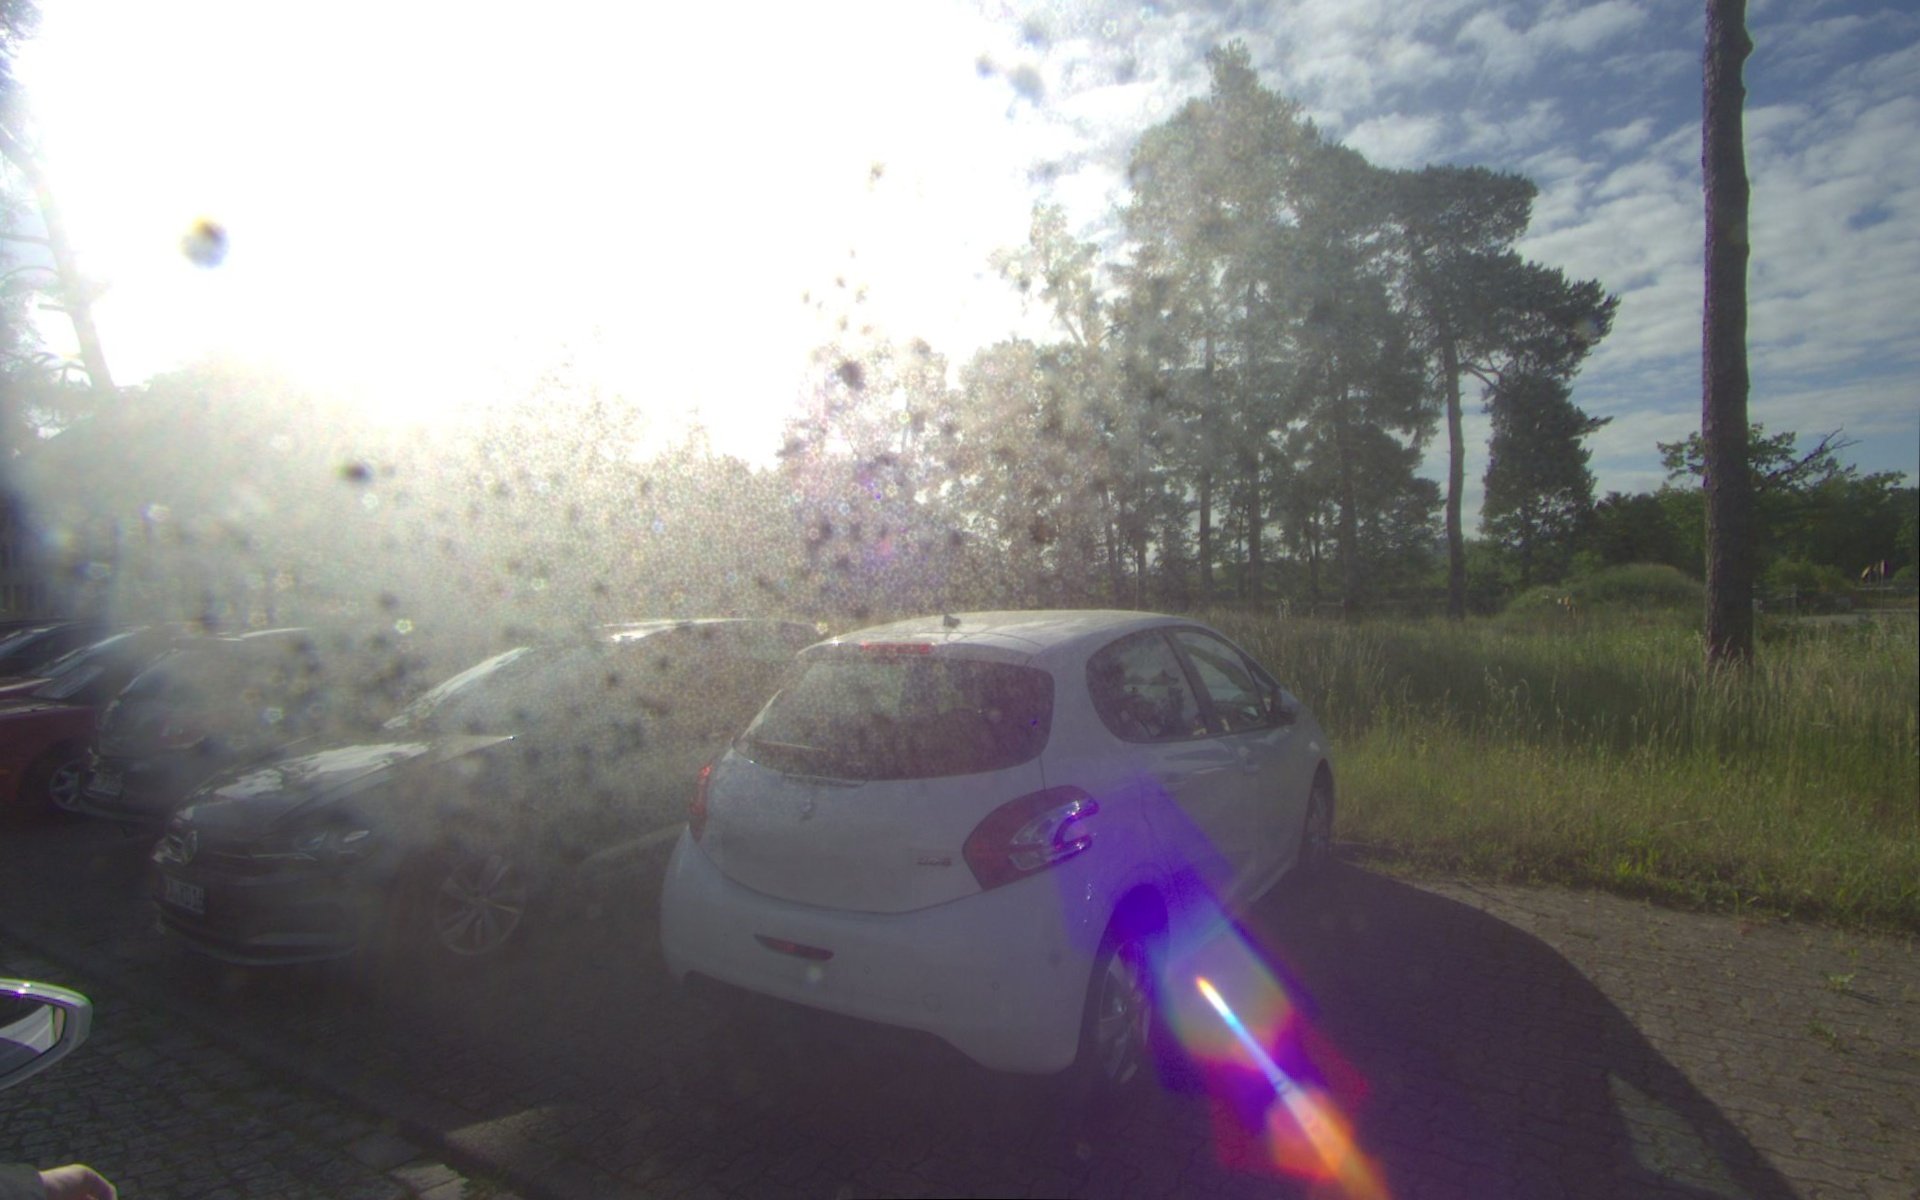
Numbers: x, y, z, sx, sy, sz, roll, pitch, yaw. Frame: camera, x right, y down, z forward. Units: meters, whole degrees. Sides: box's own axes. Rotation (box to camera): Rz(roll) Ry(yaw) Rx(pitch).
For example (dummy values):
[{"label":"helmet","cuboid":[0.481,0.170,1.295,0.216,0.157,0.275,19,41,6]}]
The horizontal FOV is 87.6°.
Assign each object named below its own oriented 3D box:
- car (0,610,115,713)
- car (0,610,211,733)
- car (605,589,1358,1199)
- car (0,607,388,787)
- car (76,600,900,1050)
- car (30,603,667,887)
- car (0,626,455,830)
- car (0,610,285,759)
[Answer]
[{"label":"car","cuboid":[-14.768,0.927,14.239,1.613,1.434,3.872,0,2,32]},{"label":"car","cuboid":[-12.510,0.920,12.680,1.613,1.434,4.548,0,2,32]},{"label":"car","cuboid":[0.515,0.769,4.529,1.736,1.555,3.698,0,2,32]},{"label":"car","cuboid":[-8.424,0.878,10.294,1.613,1.469,4.117,0,2,32]},{"label":"car","cuboid":[-2.158,0.787,5.532,1.830,1.469,3.698,0,2,32]},{"label":"car","cuboid":[-4.291,0.818,7.608,1.790,1.469,3.698,0,2,32]},{"label":"car","cuboid":[-6.652,0.948,8.667,1.721,1.240,3.698,0,2,32]},{"label":"car","cuboid":[-10.351,0.905,11.086,1.755,1.434,4.420,0,2,32]}]
